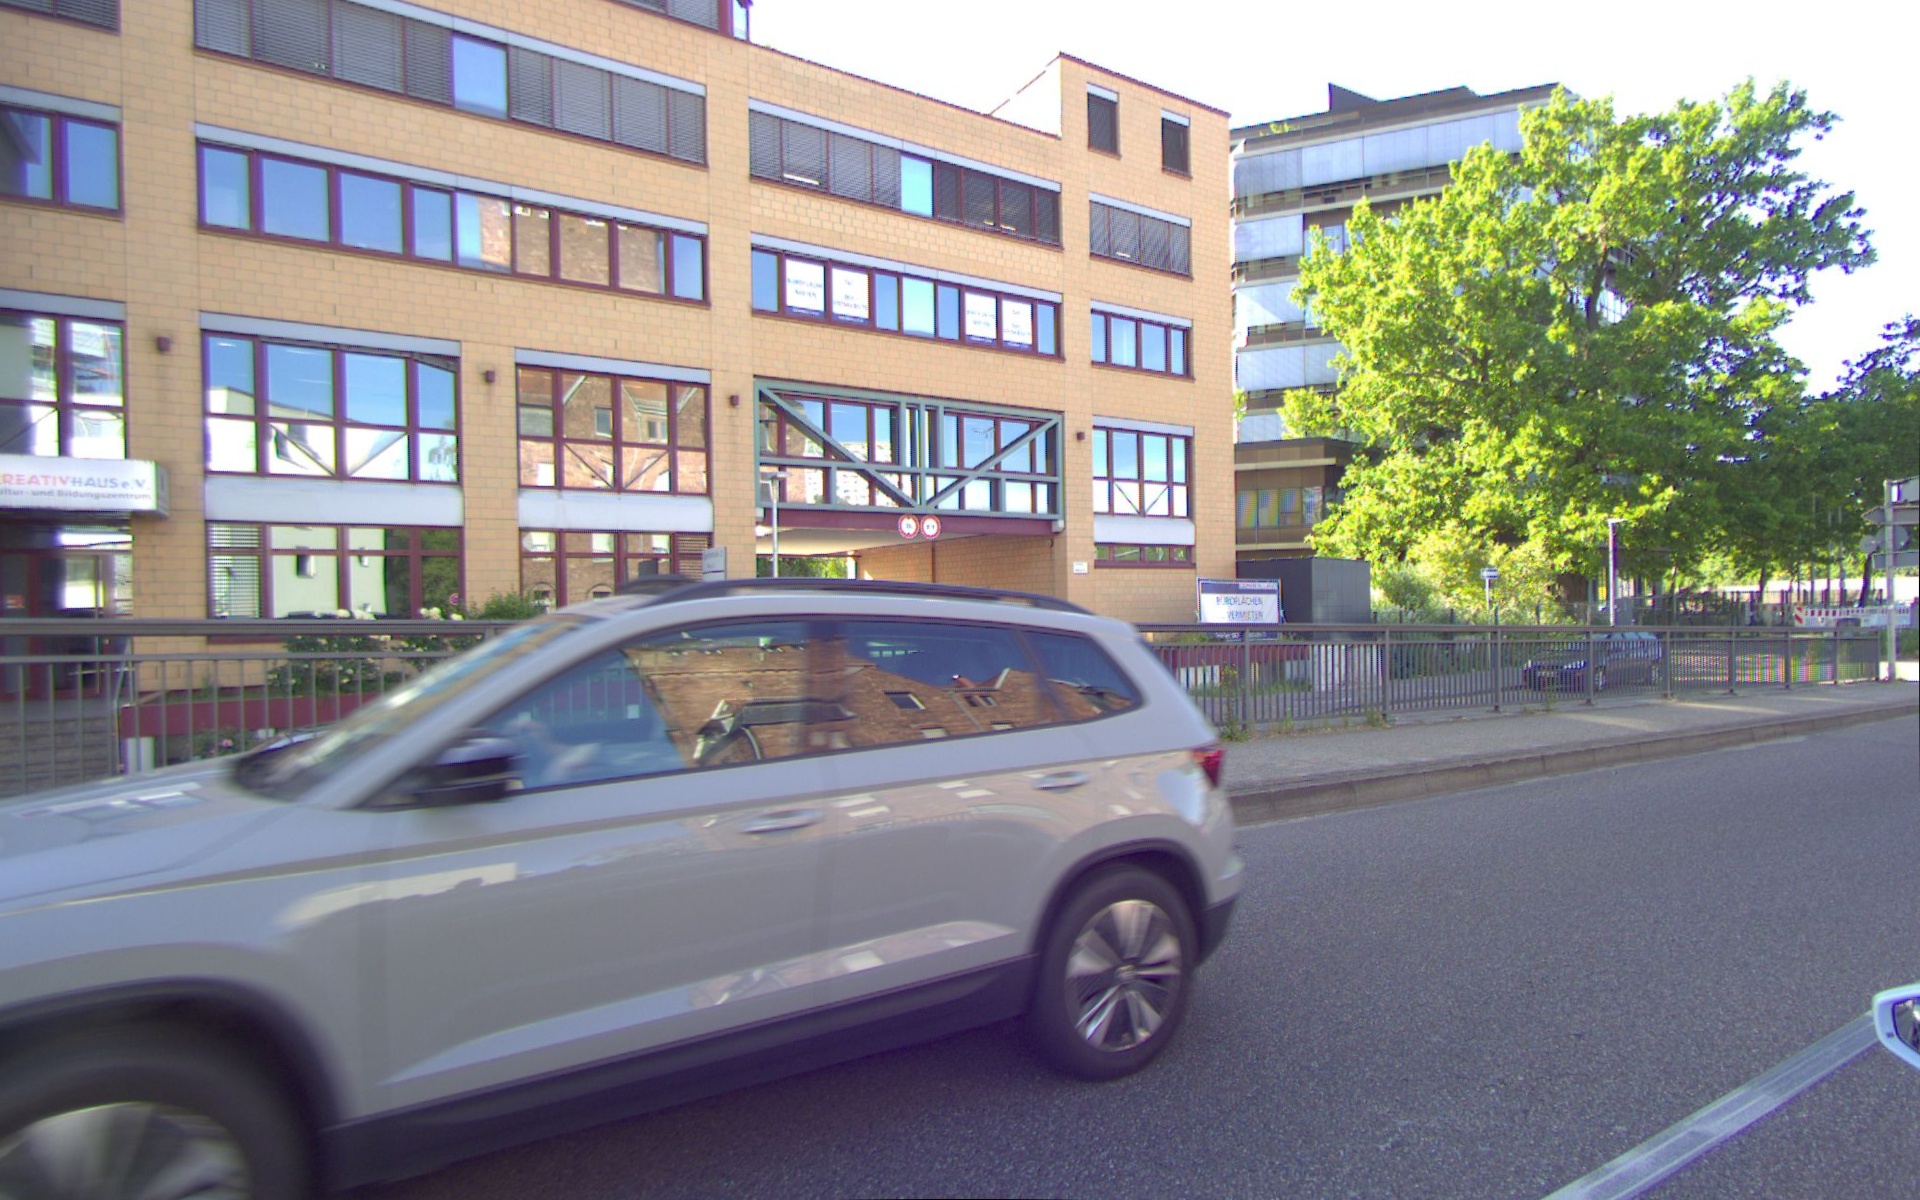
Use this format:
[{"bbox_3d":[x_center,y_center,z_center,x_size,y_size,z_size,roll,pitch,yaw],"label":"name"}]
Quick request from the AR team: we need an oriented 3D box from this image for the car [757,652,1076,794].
[{"bbox_3d":[-0.548,1.676,14.887,4.541,1.669,1.710,0,-2,-36],"label":"car"}]

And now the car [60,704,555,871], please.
[{"bbox_3d":[-6.782,1.880,10.925,4.210,1.181,1.712,0,-2,-32],"label":"car"}]

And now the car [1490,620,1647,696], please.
[{"bbox_3d":[15.743,1.433,25.961,3.953,1.715,1.843,-1,0,-31],"label":"car"}]

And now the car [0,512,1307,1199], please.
[{"bbox_3d":[-0.886,0.702,3.322,3.956,1.645,1.794,1,-1,-33],"label":"car"}]
